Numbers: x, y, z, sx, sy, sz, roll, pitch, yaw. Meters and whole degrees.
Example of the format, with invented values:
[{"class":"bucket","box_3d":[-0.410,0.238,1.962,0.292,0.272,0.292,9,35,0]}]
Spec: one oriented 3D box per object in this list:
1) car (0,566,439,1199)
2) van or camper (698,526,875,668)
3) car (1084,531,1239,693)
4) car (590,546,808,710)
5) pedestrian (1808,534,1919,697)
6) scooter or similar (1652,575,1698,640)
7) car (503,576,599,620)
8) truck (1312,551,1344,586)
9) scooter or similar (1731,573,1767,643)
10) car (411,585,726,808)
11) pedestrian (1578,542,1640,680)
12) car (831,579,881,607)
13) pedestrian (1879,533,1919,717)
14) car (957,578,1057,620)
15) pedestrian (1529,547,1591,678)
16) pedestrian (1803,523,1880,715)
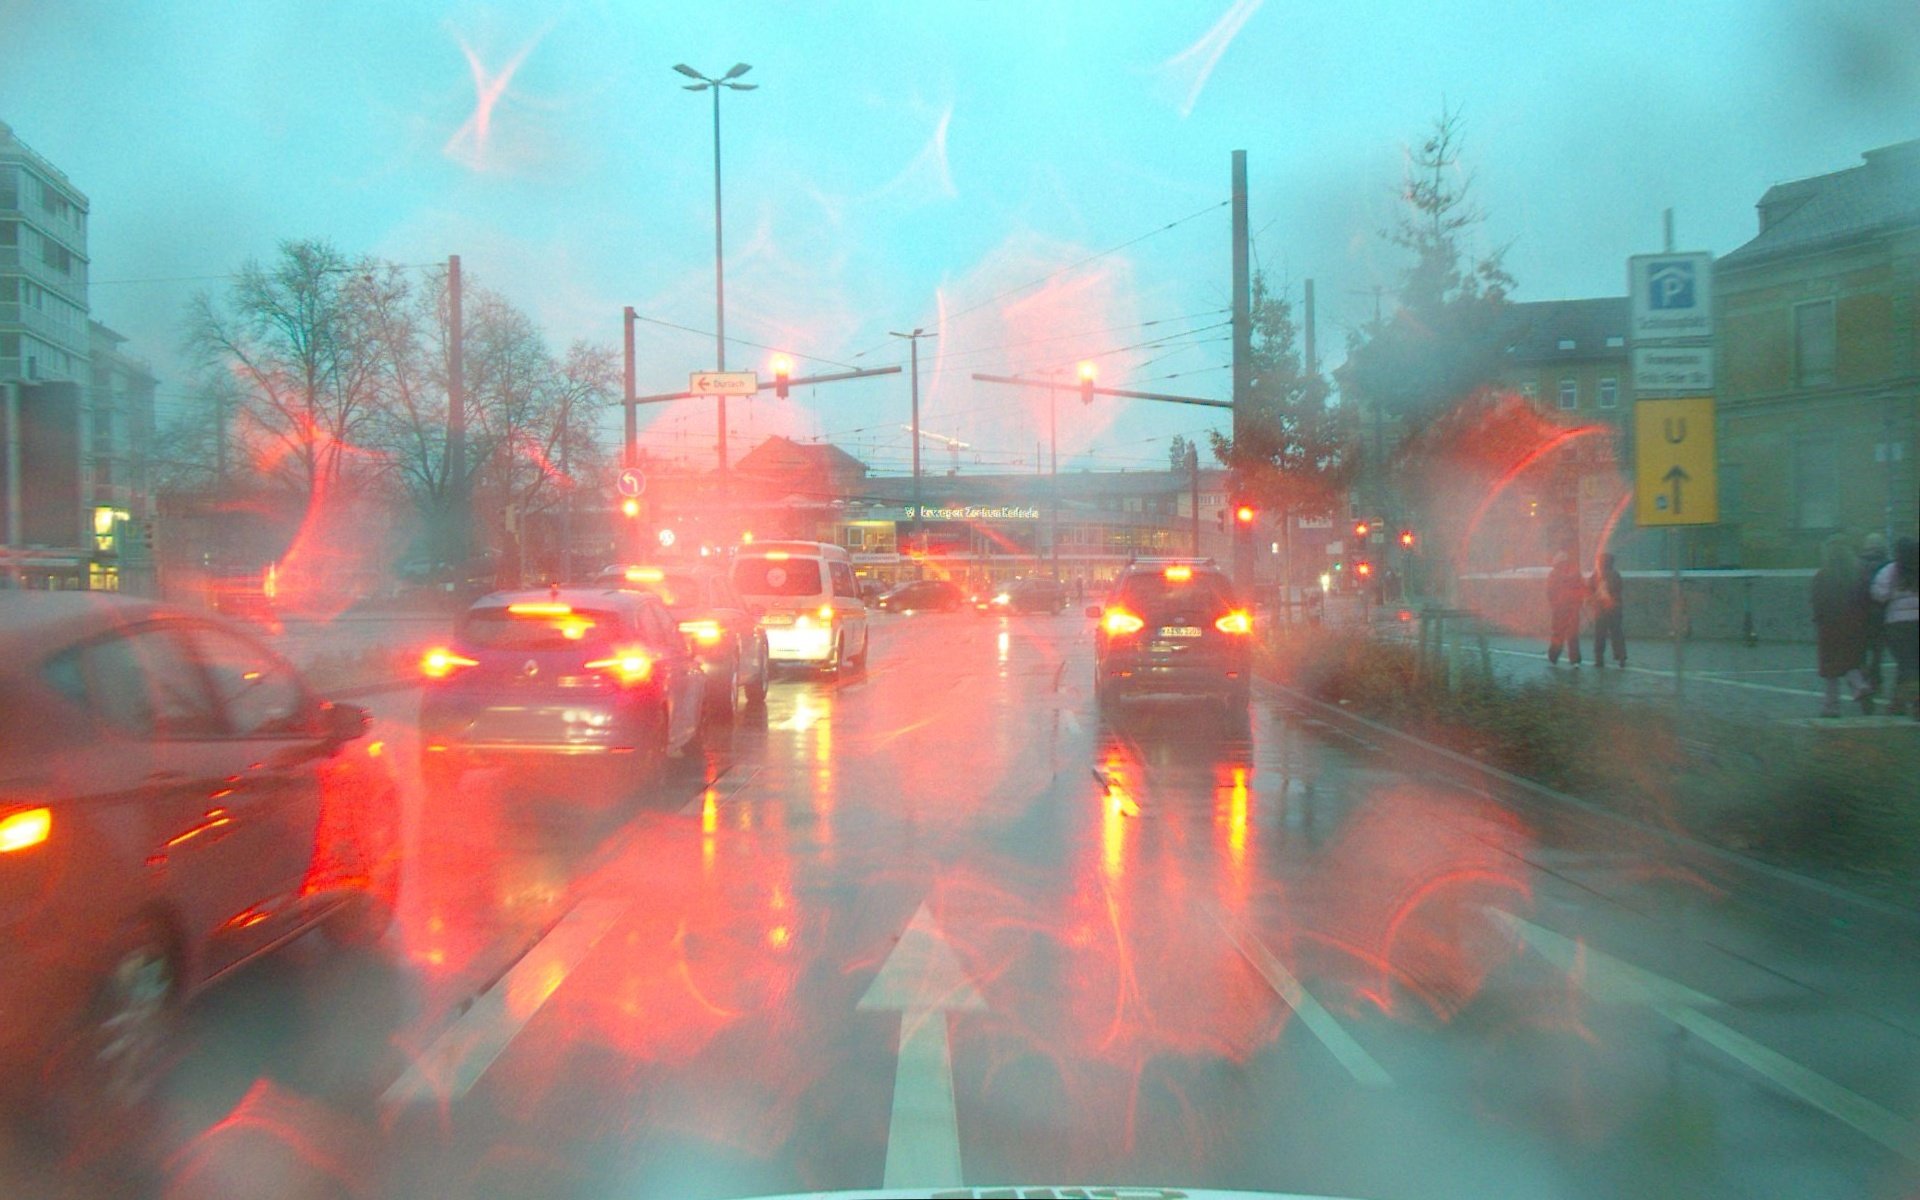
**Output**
[{"class":"car","box_3d":[-3.042,0.658,5.484,1.667,1.507,3.868,2,0,-5]},{"class":"van or camper","box_3d":[-2.781,-0.070,27.782,2.155,2.146,4.989,1,0,3]},{"class":"car","box_3d":[2.464,0.096,21.068,1.740,1.831,4.427,0,1,4]},{"class":"car","box_3d":[-2.893,0.271,19.274,1.748,1.628,4.541,2,0,0]},{"class":"pedestrian","box_3d":[10.366,0.165,18.986,0.837,1.822,0.746,-1,0,-16]},{"class":"scooter or similar","box_3d":[13.864,0.138,32.045,0.504,1.235,1.377,-1,0,37]},{"class":"car","box_3d":[-17.668,-0.105,71.451,3.922,1.803,1.991,-1,0,-16]},{"class":"truck","box_3d":[29.968,-2.567,134.604,1.952,2.738,5.117,-1,0,19]},{"class":"scooter or similar","box_3d":[14.329,0.133,30.022,0.503,1.235,1.381,-1,0,29]},{"class":"car","box_3d":[-2.855,0.622,12.893,1.626,1.428,4.118,1,0,-3]},{"class":"pedestrian","box_3d":[9.879,0.149,25.168,0.791,2.048,0.759,1,3,27]},{"class":"car","box_3d":[-5.800,-0.387,92.428,1.774,1.472,4.004,-1,0,11]},{"class":"pedestrian","box_3d":[9.161,0.221,15.731,0.654,1.717,0.611,-2,1,27]},{"class":"car","box_3d":[1.868,-0.044,64.985,1.961,1.541,3.983,-1,1,38]},{"class":"pedestrian","box_3d":[9.203,0.173,25.357,0.791,1.963,0.759,1,3,27]},{"class":"pedestrian","box_3d":[8.586,0.185,16.134,0.572,1.812,0.768,-2,-1,27]}]
